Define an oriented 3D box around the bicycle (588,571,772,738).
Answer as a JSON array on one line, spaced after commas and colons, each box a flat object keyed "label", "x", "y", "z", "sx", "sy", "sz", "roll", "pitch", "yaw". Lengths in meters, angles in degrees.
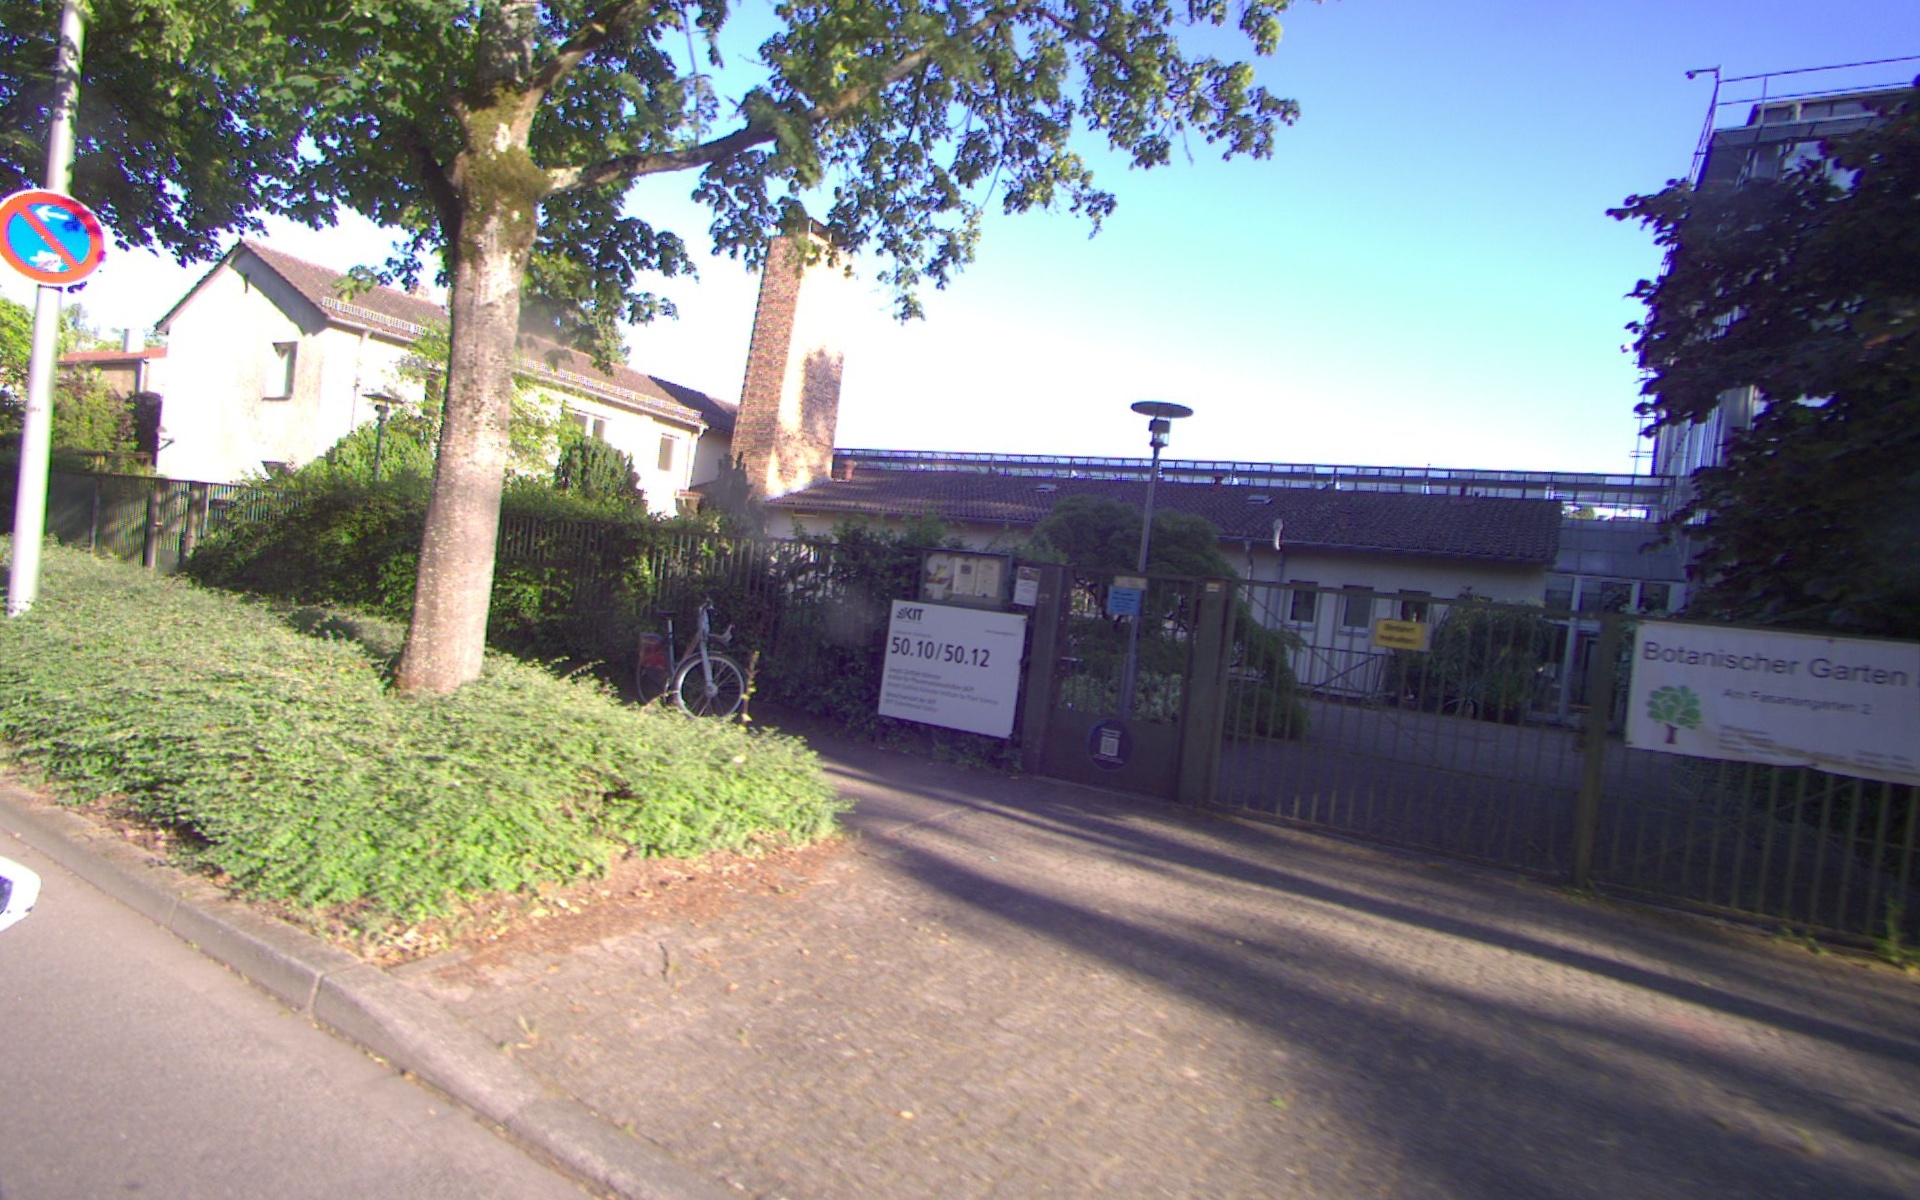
[{"label": "bicycle", "x": -2.667, "y": 0.444, "z": 9.330, "sx": 0.877, "sy": 1.216, "sz": 2.304, "roll": 4, "pitch": 3, "yaw": -34}]
